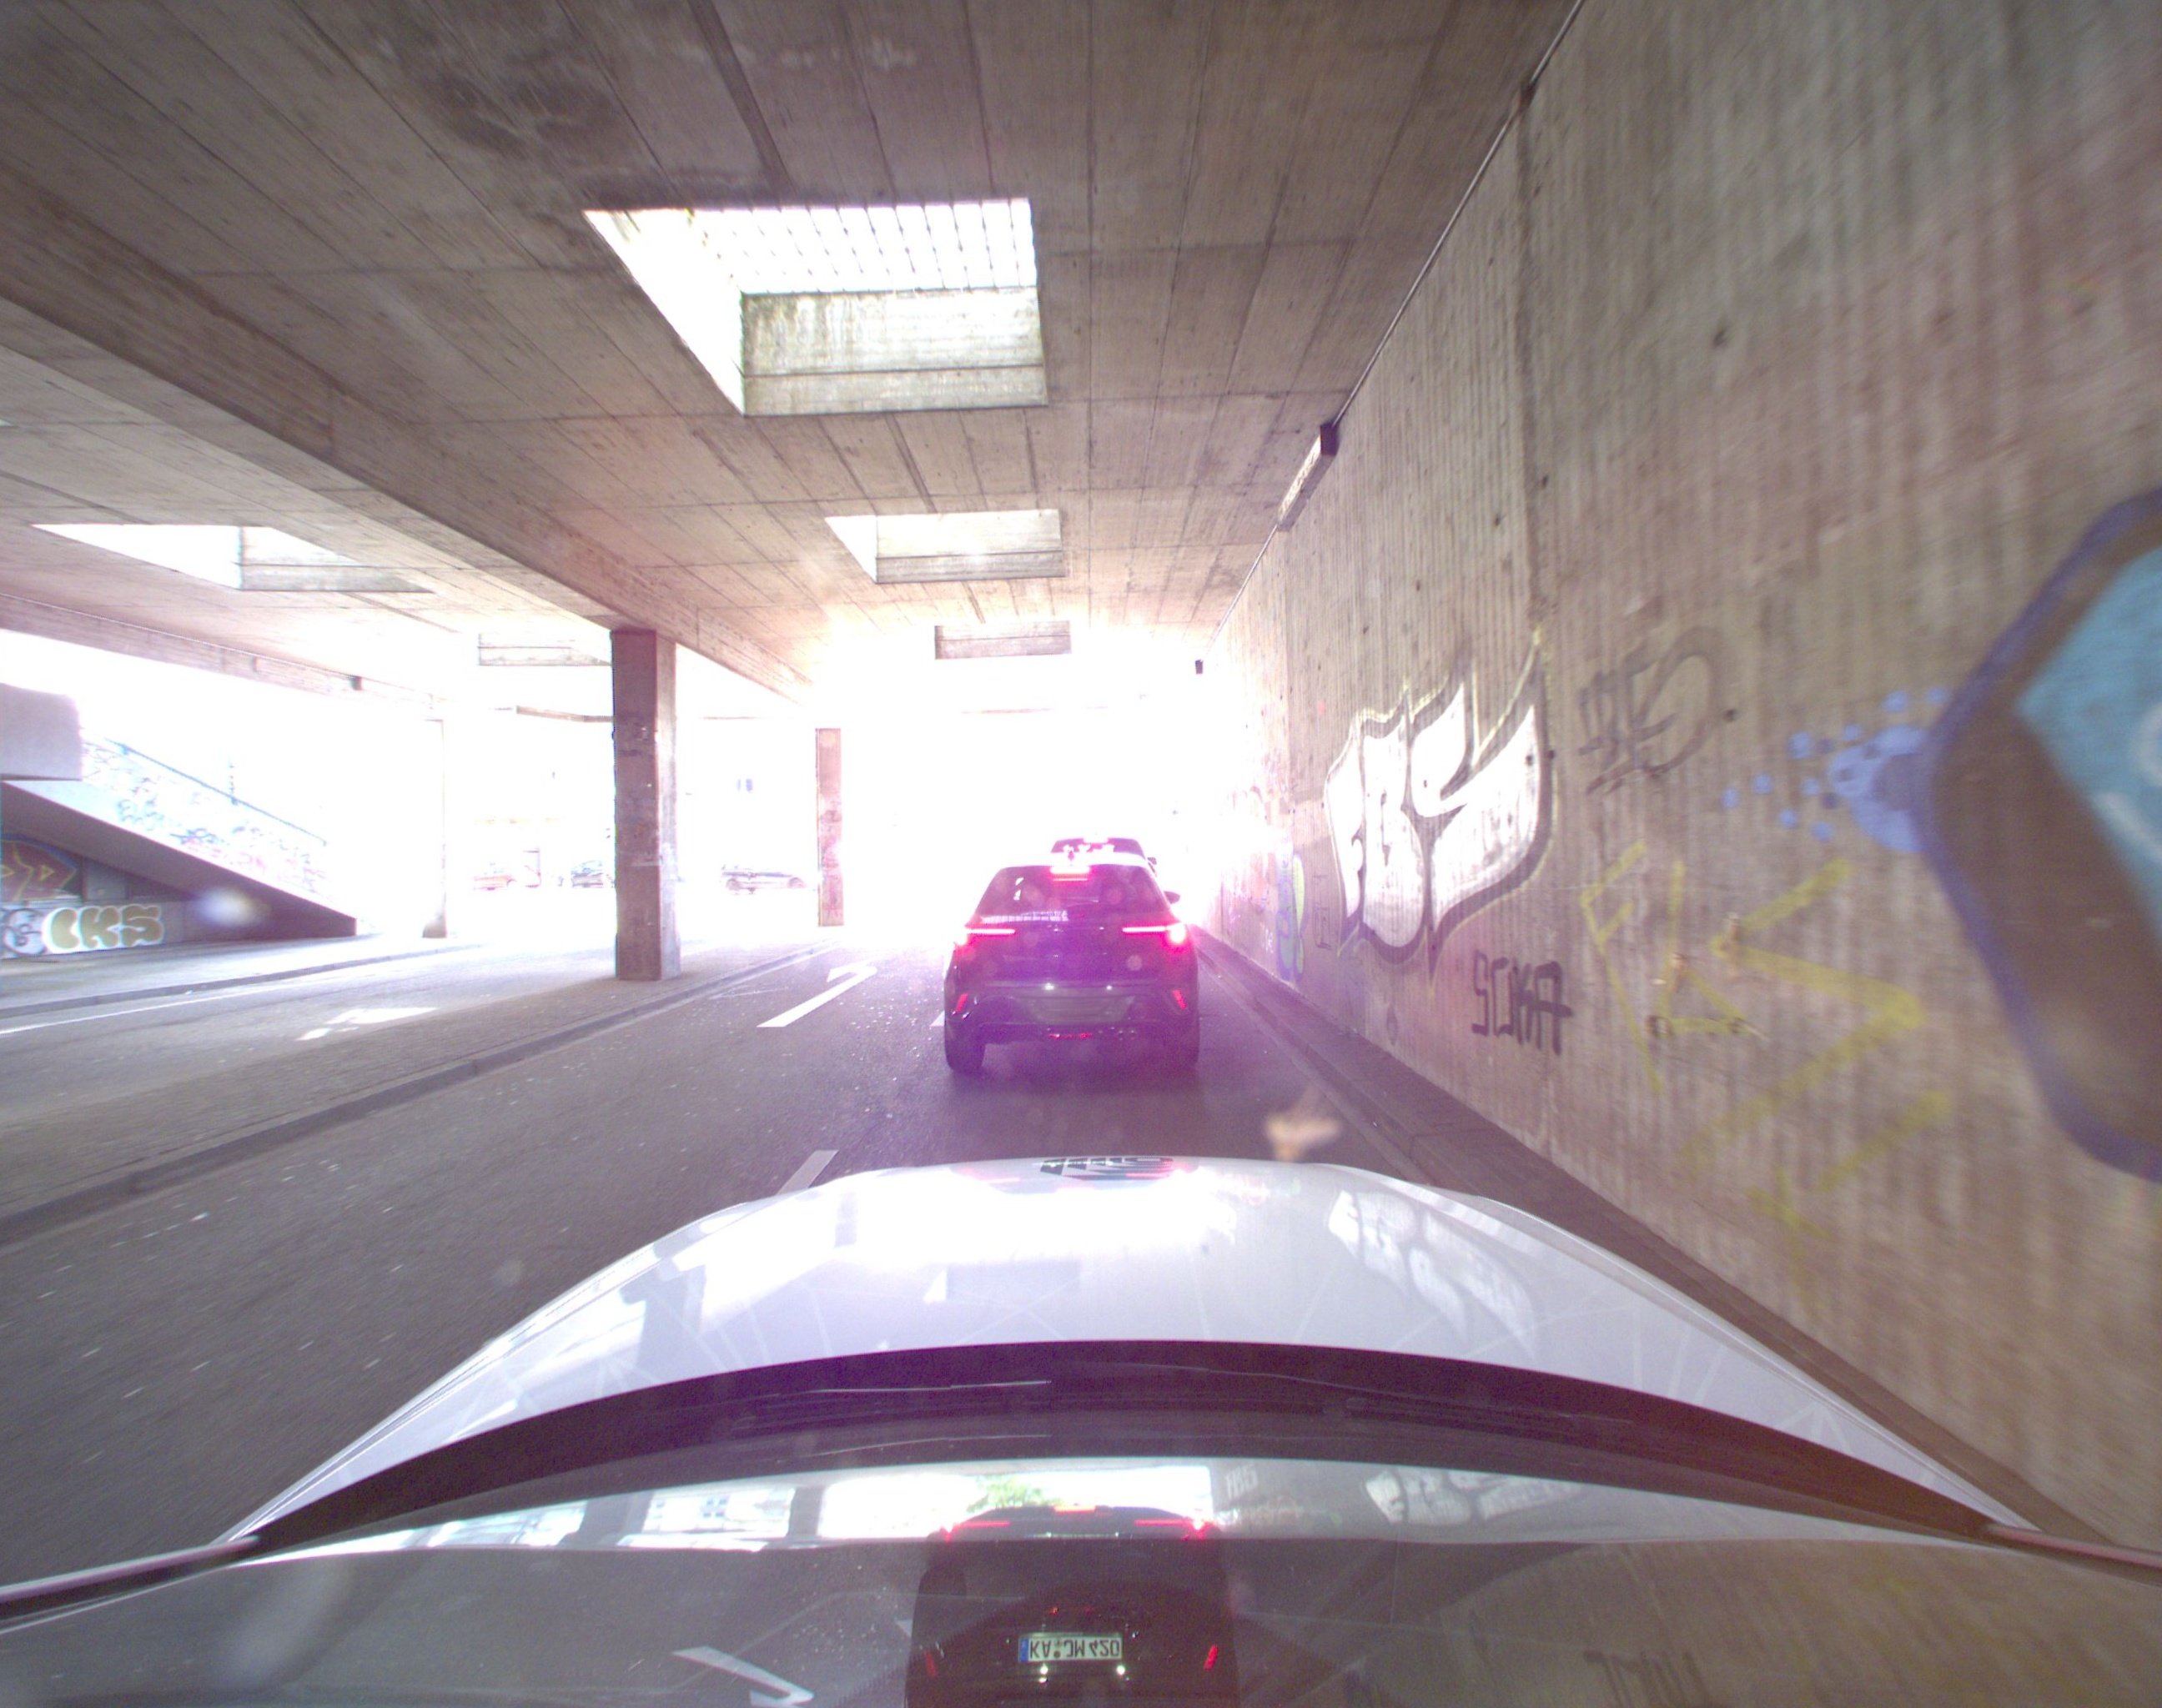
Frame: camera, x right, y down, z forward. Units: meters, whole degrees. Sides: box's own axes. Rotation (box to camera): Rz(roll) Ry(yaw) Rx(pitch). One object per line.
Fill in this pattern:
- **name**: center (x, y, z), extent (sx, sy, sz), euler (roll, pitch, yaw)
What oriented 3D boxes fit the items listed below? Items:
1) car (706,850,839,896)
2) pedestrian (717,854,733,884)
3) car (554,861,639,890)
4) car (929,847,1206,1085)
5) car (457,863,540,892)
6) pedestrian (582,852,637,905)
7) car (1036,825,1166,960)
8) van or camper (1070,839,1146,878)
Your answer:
- **car**: center (-12.463, 0.748, 33.092), extent (4.553, 1.641, 2.004), euler (-2, 1, 7)
- **pedestrian**: center (-20.857, 0.868, 47.708), extent (0.720, 1.705, 0.623), euler (0, -1, -5)
- **car**: center (-27.418, 1.194, 46.149), extent (3.742, 1.508, 1.752), euler (-1, 0, 0)
- **car**: center (-0.014, 0.705, 7.156), extent (1.747, 1.498, 4.002), euler (0, 0, 2)
- **car**: center (-32.884, 1.336, 46.010), extent (3.519, 1.506, 1.563), euler (-1, 0, 2)
- **pedestrian**: center (-16.049, 0.830, 27.764), extent (1.103, 1.737, 1.146), euler (-1, 0, 15)
- **car**: center (0.343, 0.523, 13.163), extent (1.779, 1.833, 3.962), euler (0, 0, 2)
- **van or camper**: center (1.499, 0.238, 44.396), extent (3.854, 2.013, 2.005), euler (-1, 0, 9)
